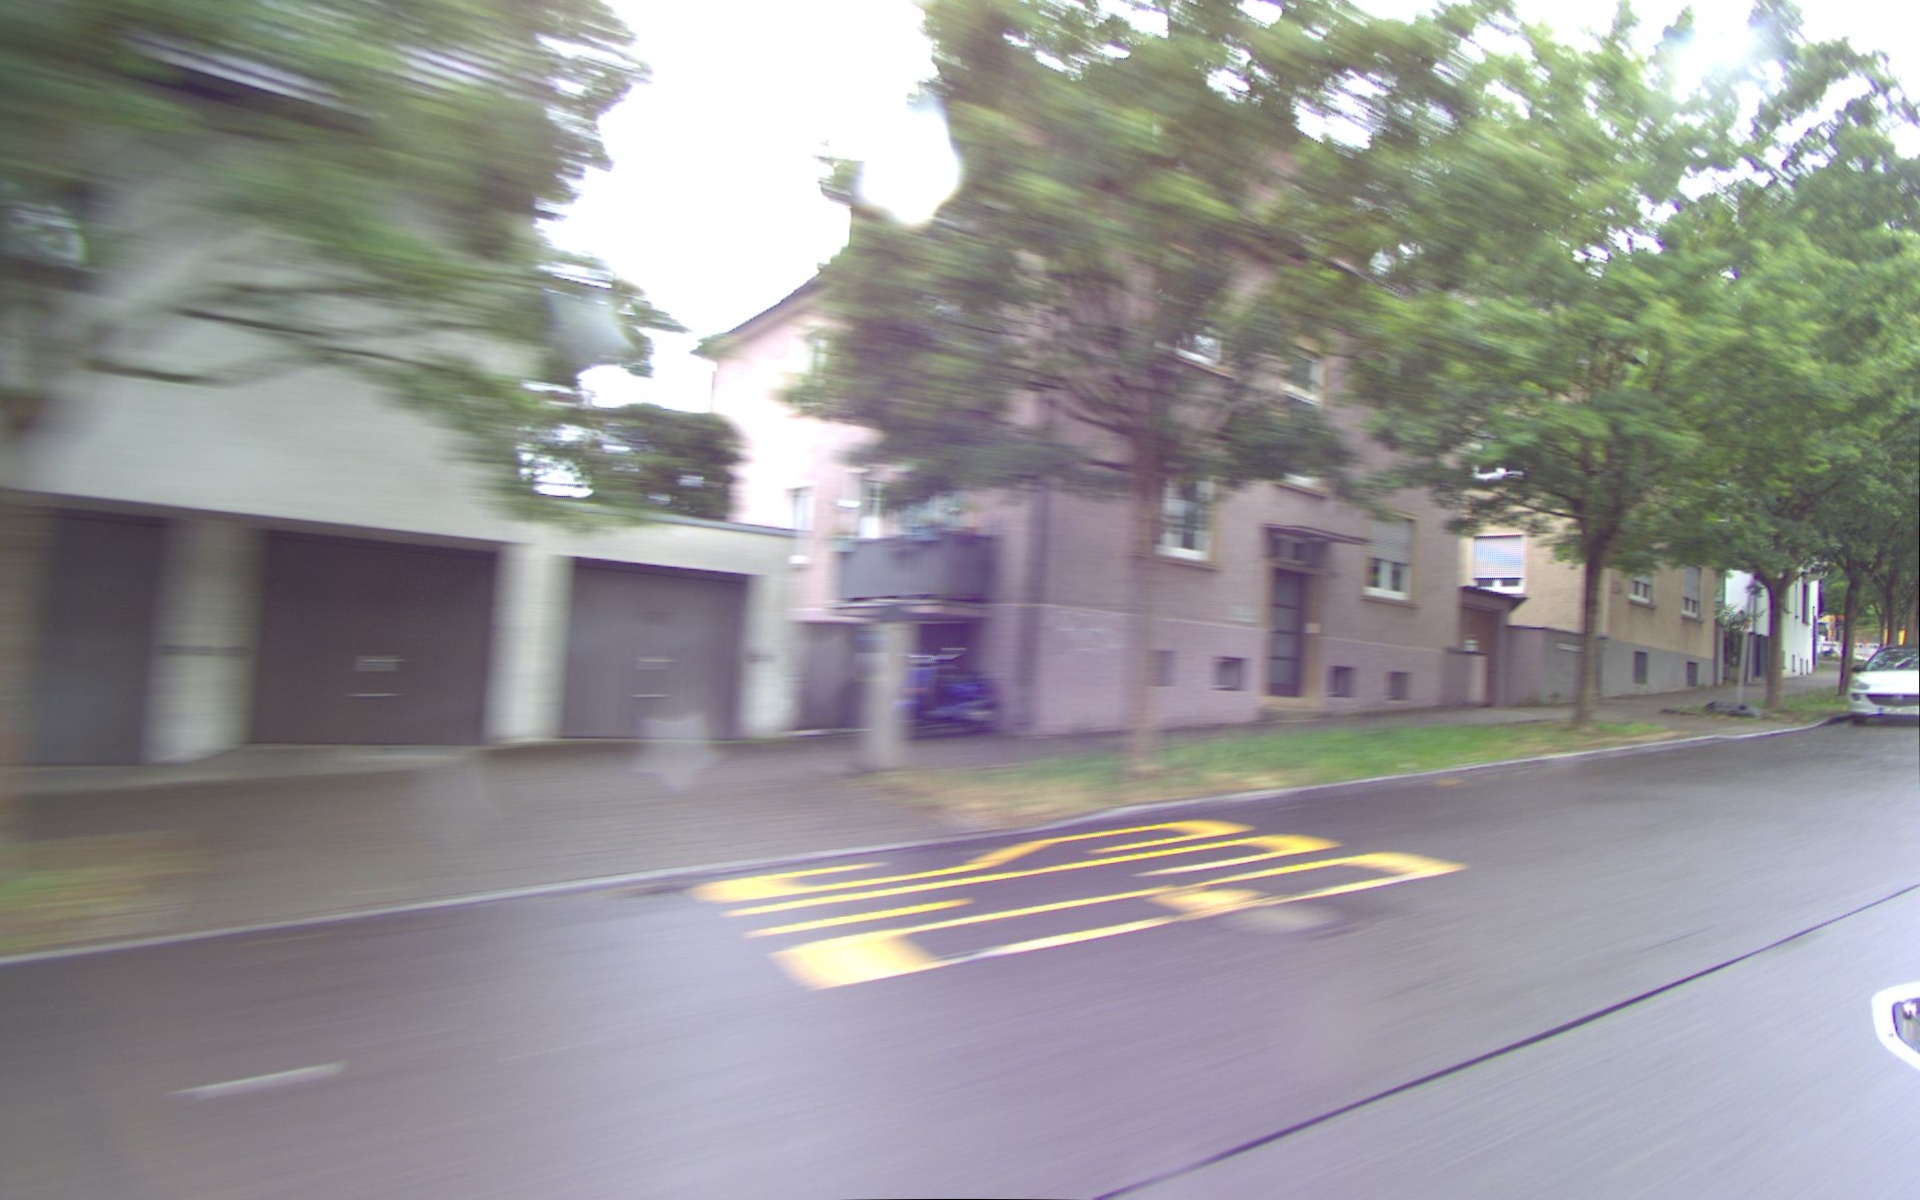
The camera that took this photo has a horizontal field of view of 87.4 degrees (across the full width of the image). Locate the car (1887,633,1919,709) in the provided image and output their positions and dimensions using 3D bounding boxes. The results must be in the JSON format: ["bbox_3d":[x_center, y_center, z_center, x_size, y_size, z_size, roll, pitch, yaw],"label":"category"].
[{"bbox_3d":[22.228,1.552,22.351,3.968,1.617,1.862,2,-4,-41],"label":"car"}]

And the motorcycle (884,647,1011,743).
[{"bbox_3d":[-0.152,1.257,13.651,1.681,1.174,0.610,0,-1,-35],"label":"motorcycle"}]

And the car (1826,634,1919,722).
[{"bbox_3d":[18.407,1.460,19.369,3.968,1.550,1.977,2,-4,-41],"label":"car"}]
